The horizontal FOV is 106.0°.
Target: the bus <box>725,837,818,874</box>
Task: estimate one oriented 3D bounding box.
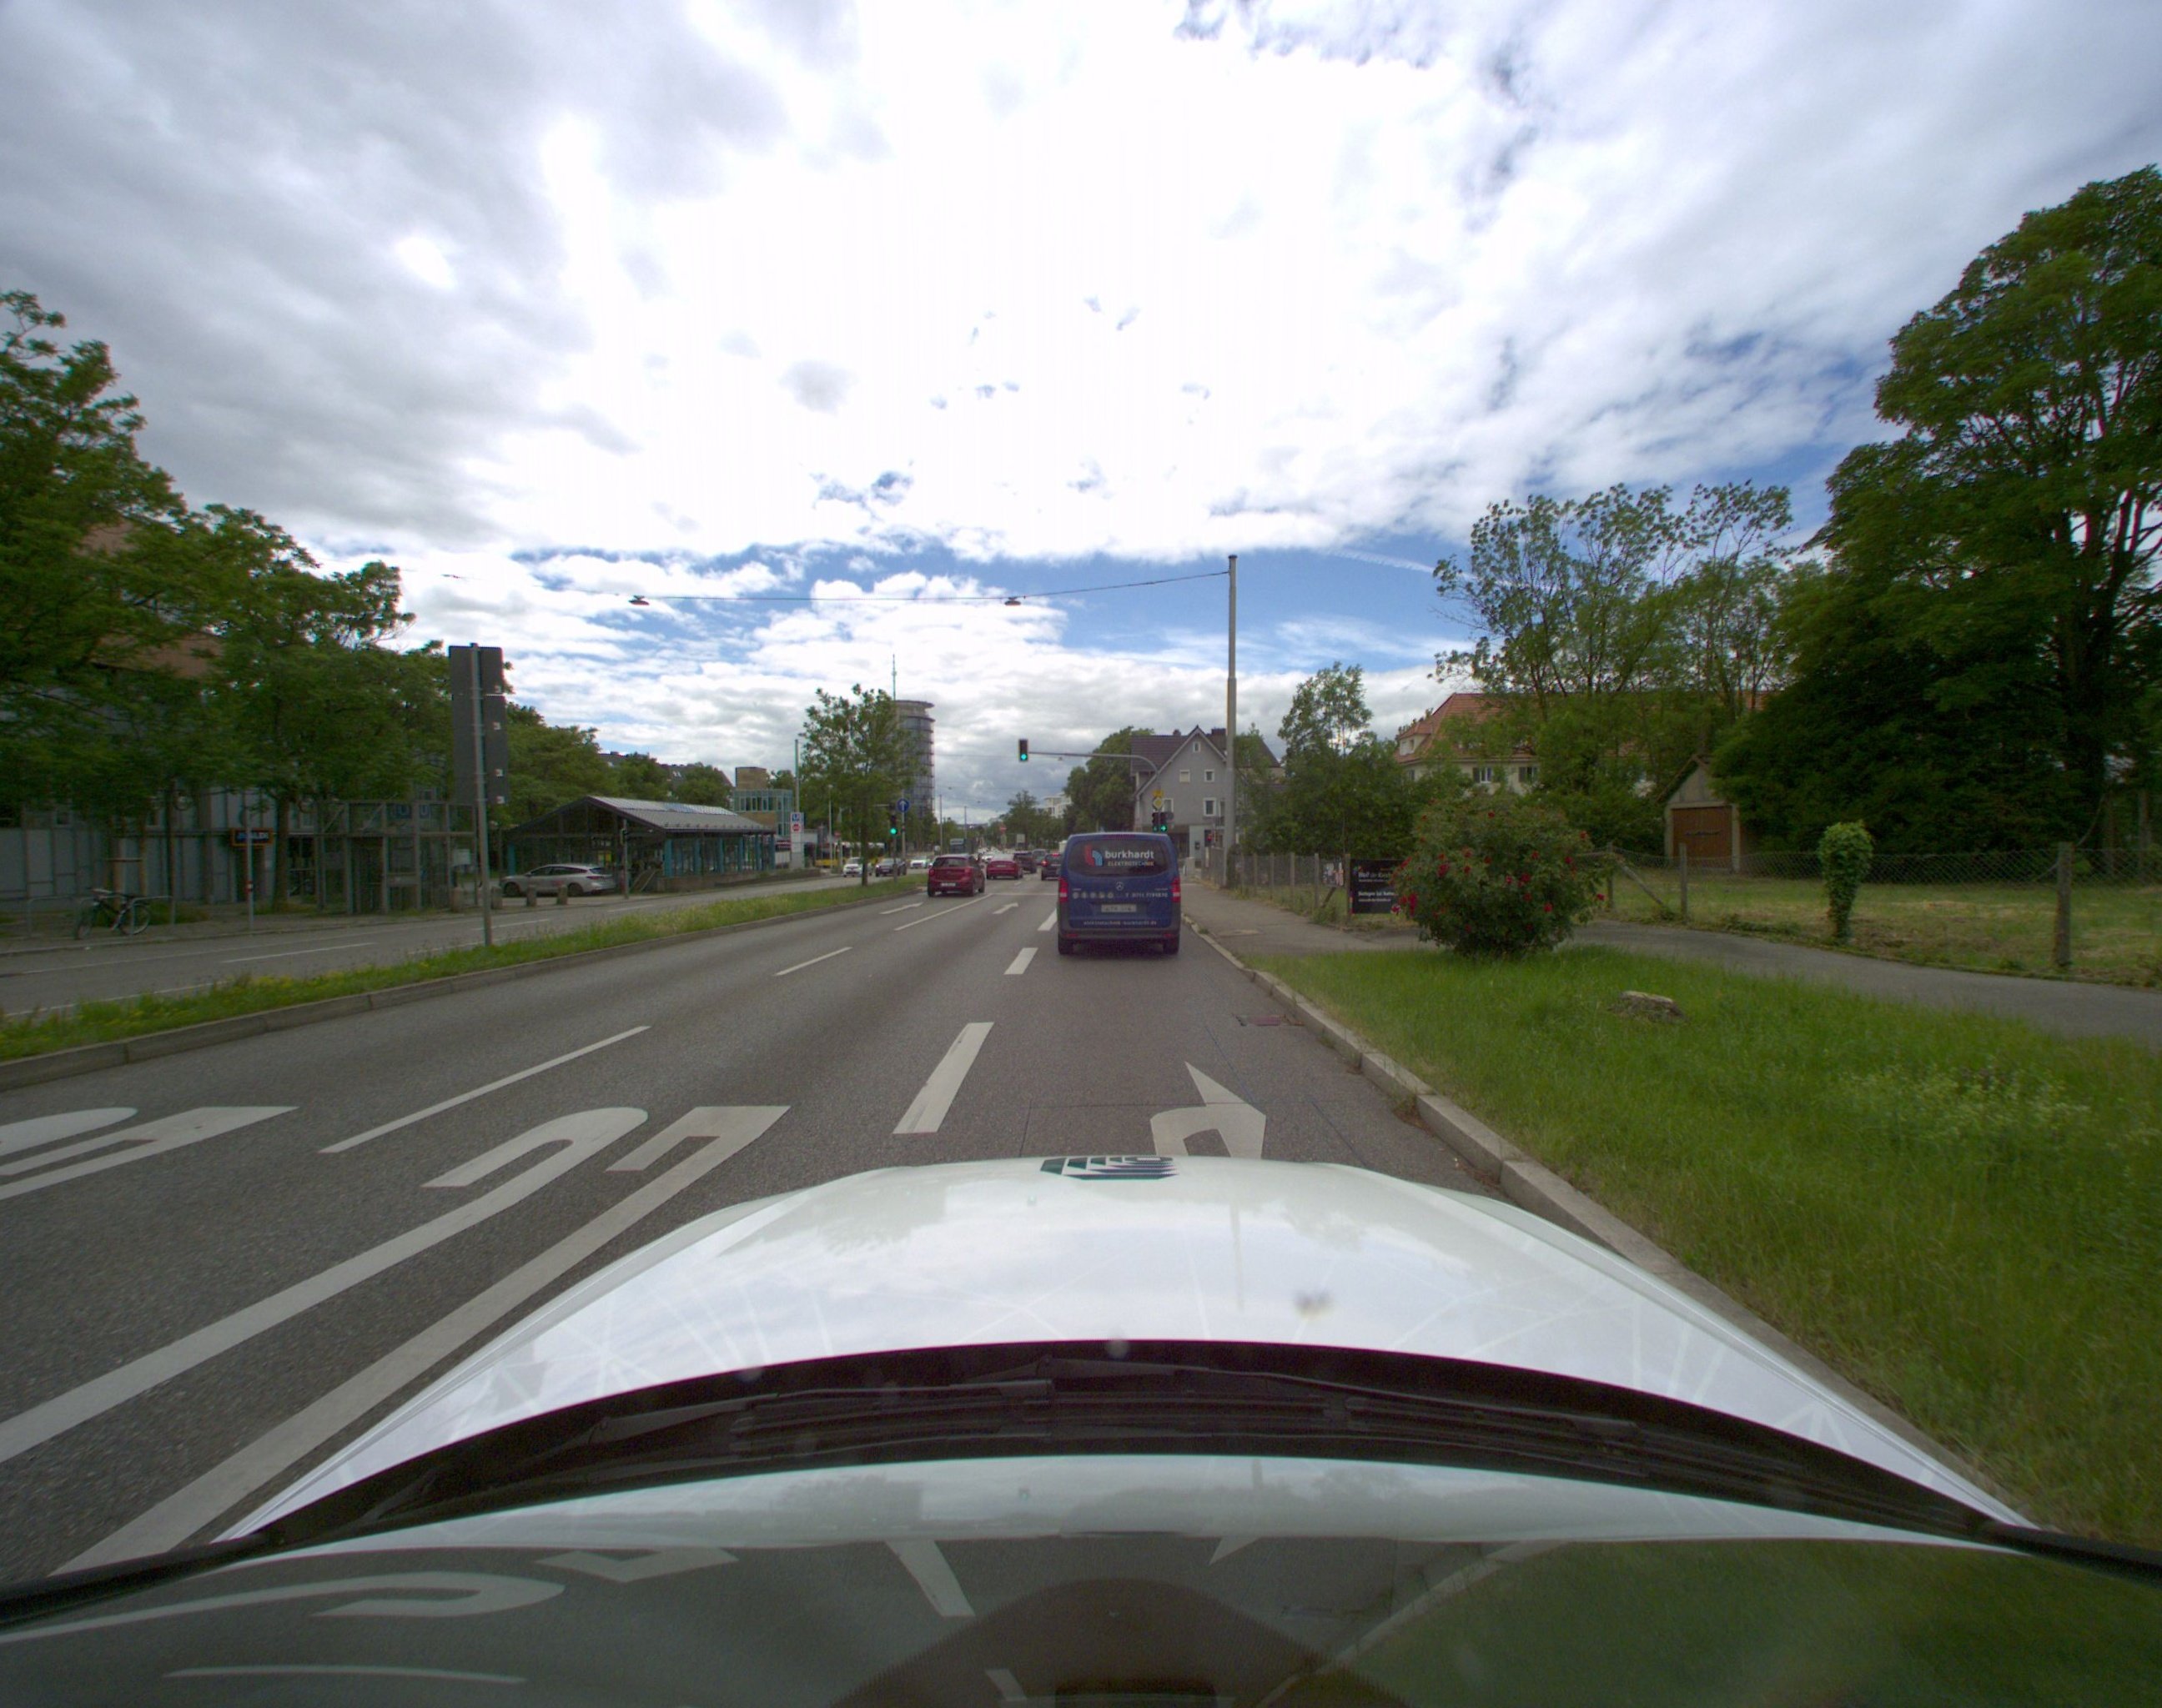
[{"bbox_3d":[-28.465,0.136,75.769,2.942,3.133,12.179,0,0,6],"label":"bus"}]

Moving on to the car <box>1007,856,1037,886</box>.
[{"bbox_3d":[-4.353,1.209,59.708,1.992,2.013,3.990,0,1,-8],"label":"car"}]

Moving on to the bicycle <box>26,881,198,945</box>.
[{"bbox_3d":[-21.941,1.294,18.547,1.049,1.271,2.422,1,0,-3],"label":"bicycle"}]

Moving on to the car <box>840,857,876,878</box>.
[{"bbox_3d":[-17.783,1.056,65.113,1.618,1.574,4.002,-1,0,2],"label":"car"}]

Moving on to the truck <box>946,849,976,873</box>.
[{"bbox_3d":[-19.137,1.050,130.412,3.359,3.727,11.272,0,0,-2],"label":"truck"}]

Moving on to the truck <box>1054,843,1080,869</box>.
[{"bbox_3d":[-1.198,0.138,71.955,1.986,2.165,5.560,1,0,1],"label":"truck"}]

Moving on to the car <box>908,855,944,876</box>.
[{"bbox_3d":[-12.739,0.915,67.224,1.986,1.574,4.518,-1,0,2],"label":"car"}]

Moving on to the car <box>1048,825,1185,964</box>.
[{"bbox_3d":[0.487,0.576,13.872,1.942,1.965,4.540,0,0,-1],"label":"car"}]

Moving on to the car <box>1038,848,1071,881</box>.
[{"bbox_3d":[-1.495,0.561,46.325,1.742,1.723,3.997,-1,0,-2],"label":"car"}]

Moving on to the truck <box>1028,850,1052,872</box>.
[{"bbox_3d":[-4.221,0.661,84.432,1.986,2.165,5.560,1,0,1],"label":"truck"}]

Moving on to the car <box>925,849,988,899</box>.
[{"bbox_3d":[-4.613,0.686,30.680,1.741,1.723,3.999,2,0,0],"label":"car"}]

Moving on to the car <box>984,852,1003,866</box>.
[{"bbox_3d":[-12.727,0.695,119.307,1.984,2.013,4.184,-1,0,4],"label":"car"}]

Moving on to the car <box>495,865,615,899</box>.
[{"bbox_3d":[-23.323,1.234,36.291,3.989,1.354,1.992,-1,0,-11],"label":"car"}]

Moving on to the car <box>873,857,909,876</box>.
[{"bbox_3d":[-14.894,0.957,63.972,1.809,1.398,5.005,-3,0,-3],"label":"car"}]

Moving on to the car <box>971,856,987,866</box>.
[{"bbox_3d":[-15.290,0.994,122.324,1.791,1.417,3.999,-1,0,0],"label":"car"}]

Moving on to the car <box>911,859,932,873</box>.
[{"bbox_3d":[-18.569,1.402,94.876,1.728,1.574,4.503,-1,0,-2],"label":"car"}]

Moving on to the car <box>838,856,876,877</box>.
[{"bbox_3d":[-17.803,0.986,64.927,1.741,1.517,4.001,-3,0,1],"label":"car"}]

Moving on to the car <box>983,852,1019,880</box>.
[{"bbox_3d":[-4.641,0.710,46.995,1.867,1.486,3.989,-2,-1,-8],"label":"car"}]
